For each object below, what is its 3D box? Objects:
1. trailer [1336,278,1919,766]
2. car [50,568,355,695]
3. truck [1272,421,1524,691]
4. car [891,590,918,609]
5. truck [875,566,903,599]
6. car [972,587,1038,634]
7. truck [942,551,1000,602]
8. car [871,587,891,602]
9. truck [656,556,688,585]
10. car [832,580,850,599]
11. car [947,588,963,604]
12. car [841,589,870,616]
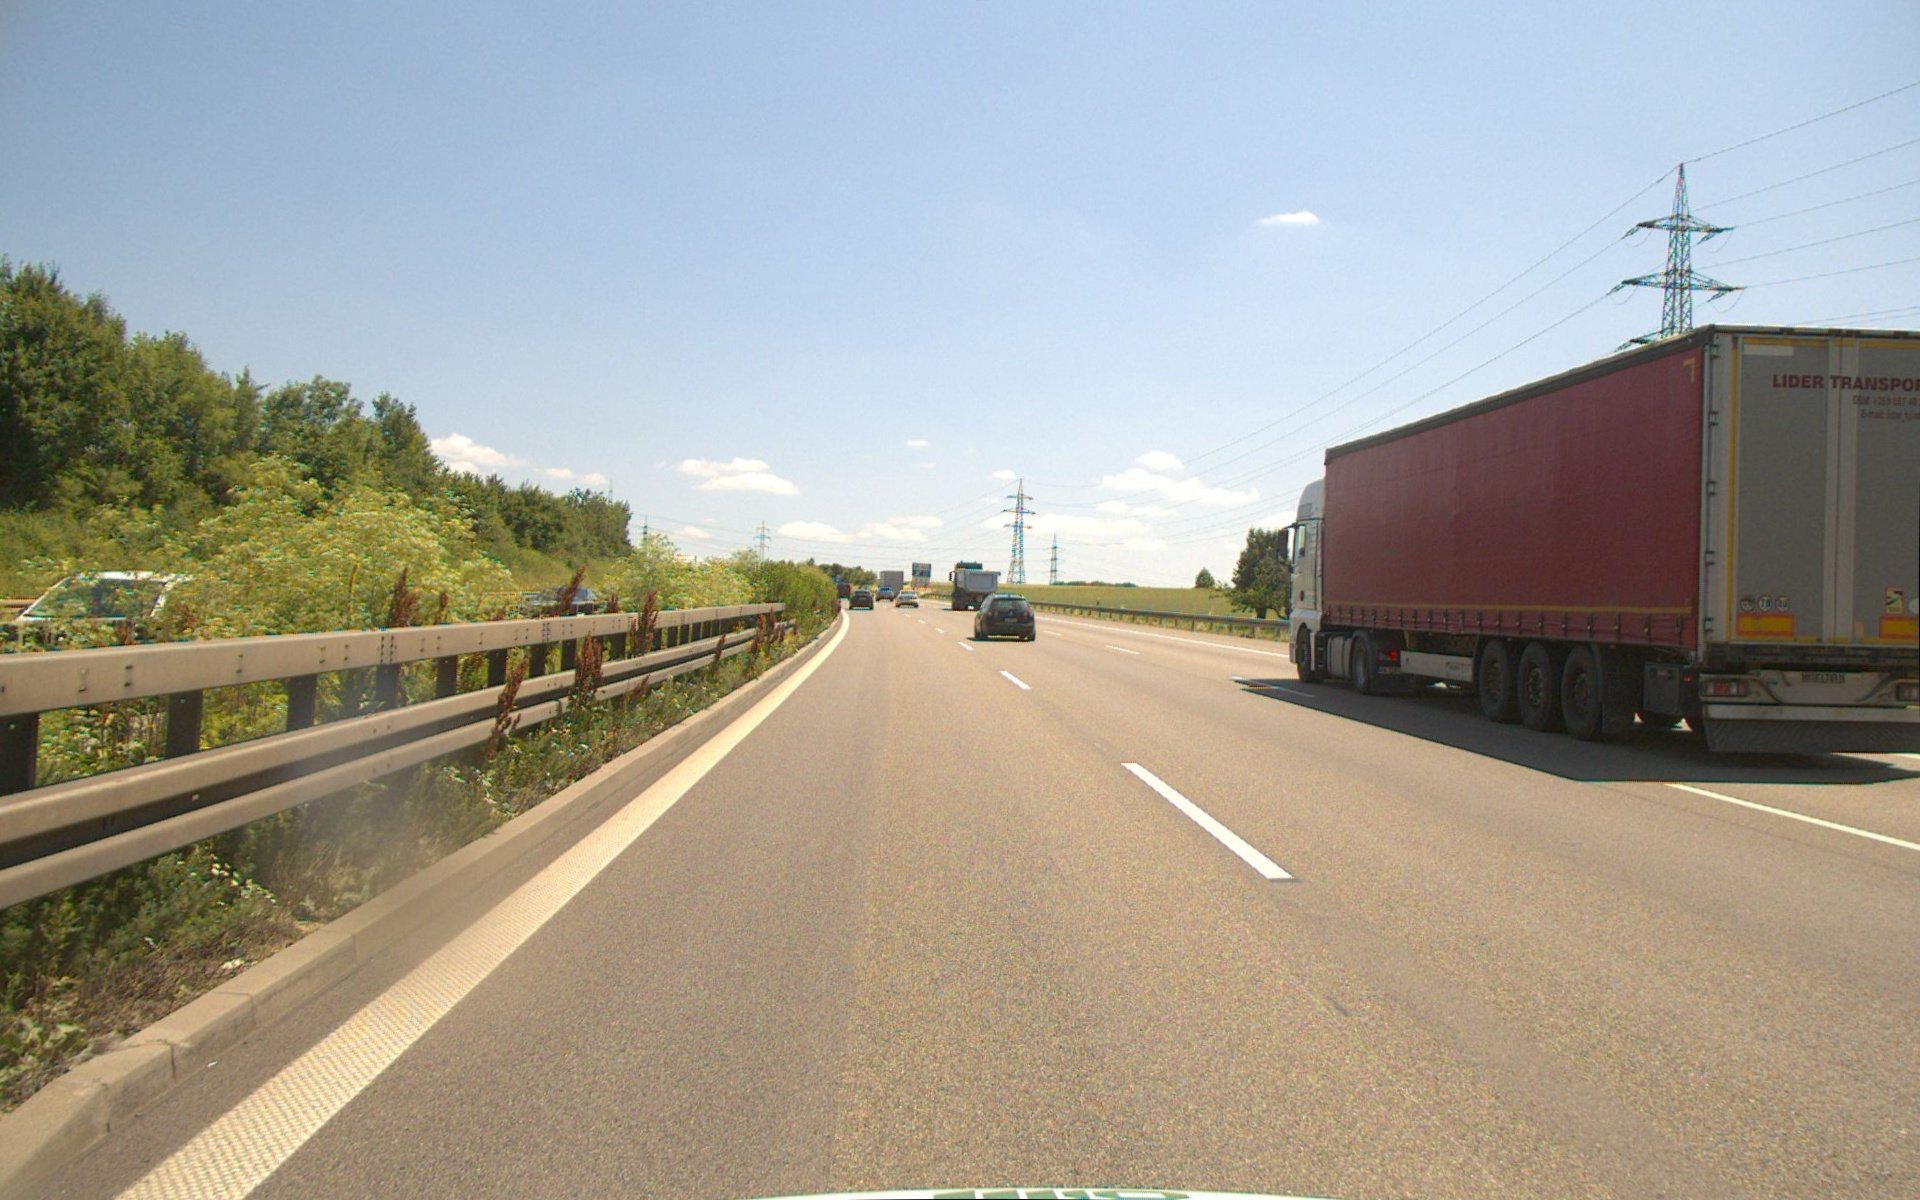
[{"bbox_3d":[7.862,-0.717,21.352,2.548,4.338,13.028,1,0,-2],"label":"trailer"},{"bbox_3d":[-9.343,0.336,20.888,1.822,1.376,4.665,1,0,-2],"label":"car"},{"bbox_3d":[7.506,-0.708,29.211,2.510,4.226,6.245,1,0,-3],"label":"truck"},{"bbox_3d":[-4.624,-0.045,136.715,1.786,1.567,3.907,1,0,-8],"label":"car"},{"bbox_3d":[-9.317,-2.255,216.318,3.159,3.993,9.049,1,-1,-6],"label":"truck"},{"bbox_3d":[1.430,0.315,54.007,1.722,1.454,3.996,1,0,-5],"label":"car"},{"bbox_3d":[0.763,-1.791,129.850,2.811,3.789,12.741,1,0,-8],"label":"truck"},{"bbox_3d":[-8.414,-0.571,175.497,1.804,1.567,3.907,1,0,-8],"label":"car"},{"bbox_3d":[-28.198,-2.869,162.149,2.636,2.796,4.641,1,0,-5],"label":"truck"},{"bbox_3d":[-12.976,-1.134,180.219,1.865,1.959,3.996,1,0,-5],"label":"car"},{"bbox_3d":[-0.665,-0.505,204.822,1.777,2.049,3.952,1,0,-4],"label":"car"},{"bbox_3d":[-7.667,0.176,121.269,1.955,1.892,3.995,1,0,-6],"label":"car"}]
